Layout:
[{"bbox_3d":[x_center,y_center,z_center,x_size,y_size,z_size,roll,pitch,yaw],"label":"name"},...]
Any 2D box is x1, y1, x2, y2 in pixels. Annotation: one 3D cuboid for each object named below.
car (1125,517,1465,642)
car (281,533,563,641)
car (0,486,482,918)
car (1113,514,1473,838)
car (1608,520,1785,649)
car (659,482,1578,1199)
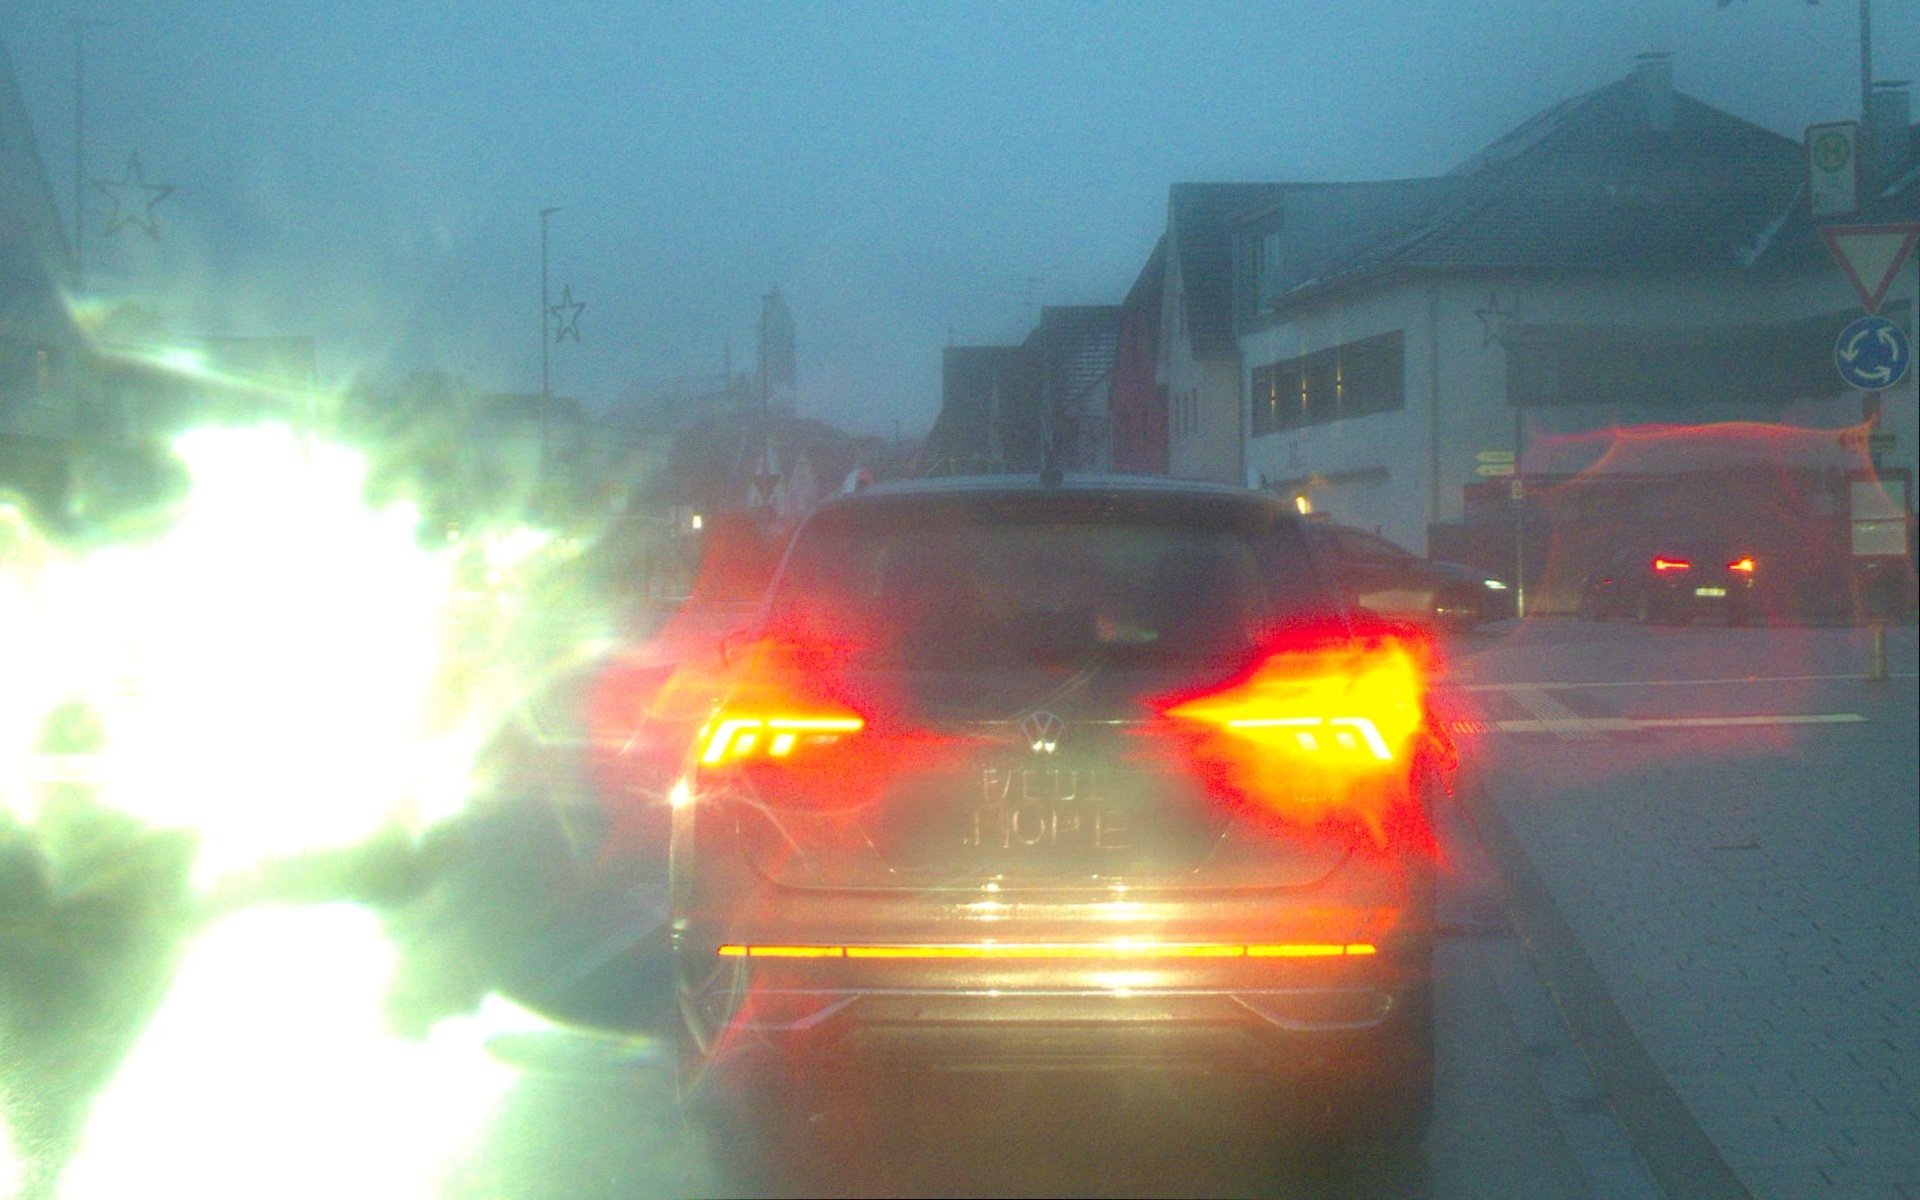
[{"bbox_3d":[4.446,-0.247,45.764,3.985,1.474,2.000,2,-1,-19],"label":"car"},{"bbox_3d":[-7.947,-0.223,50.621,3.997,1.413,1.995,1,5,43],"label":"car"},{"bbox_3d":[-3.281,0.348,15.280,1.737,1.647,4.000,-1,1,0],"label":"car"},{"bbox_3d":[1.668,0.312,18.300,1.682,1.448,4.000,-1,2,3],"label":"car"},{"bbox_3d":[12.578,-0.300,58.990,2.158,1.984,4.499,-4,1,3],"label":"car"},{"bbox_3d":[0.434,0.501,9.599,1.964,1.589,4.313,1,1,3],"label":"car"}]
